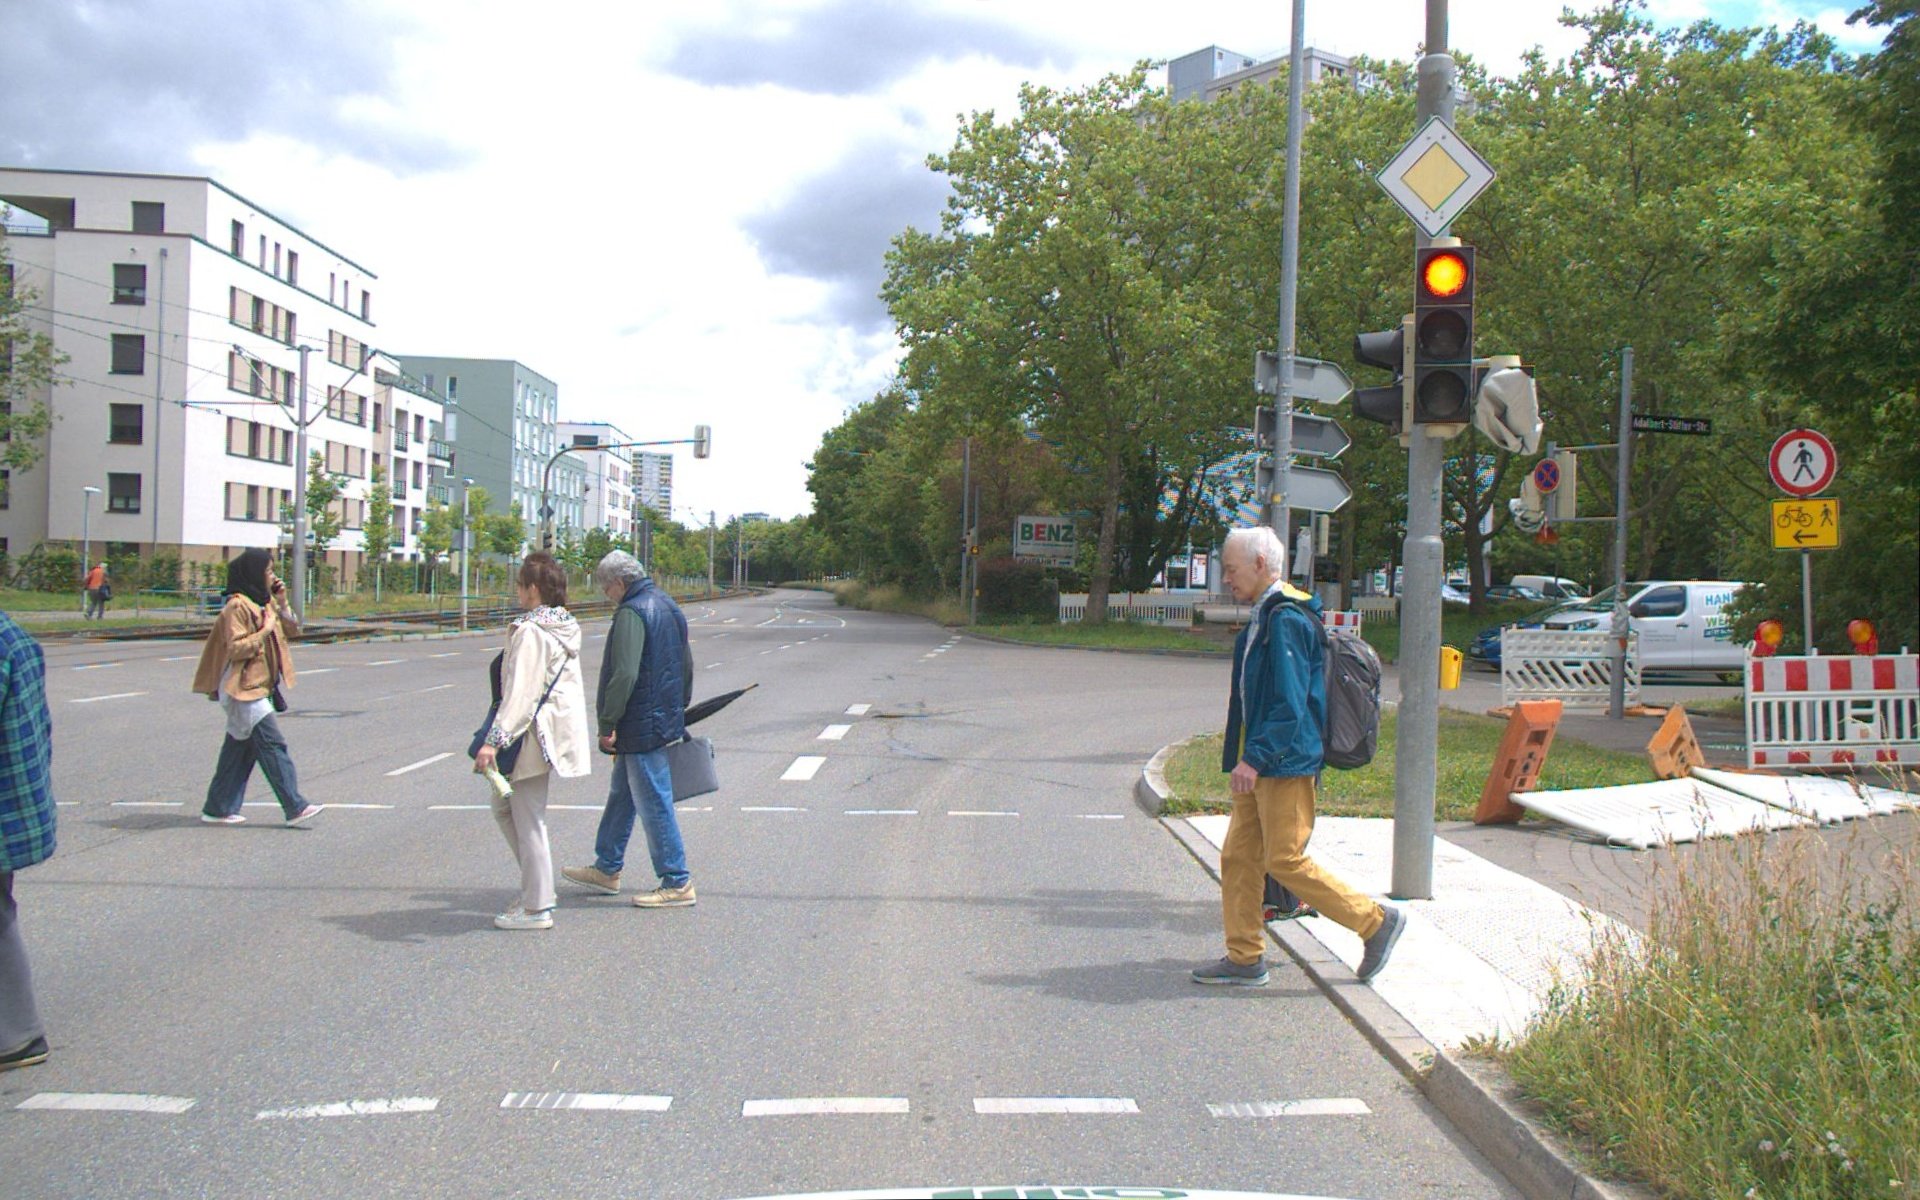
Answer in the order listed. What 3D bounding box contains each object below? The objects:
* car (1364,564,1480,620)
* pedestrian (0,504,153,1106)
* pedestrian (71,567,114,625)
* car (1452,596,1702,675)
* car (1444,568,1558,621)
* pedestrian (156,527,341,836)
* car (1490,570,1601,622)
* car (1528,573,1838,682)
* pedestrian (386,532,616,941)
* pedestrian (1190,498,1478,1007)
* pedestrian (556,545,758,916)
[{"bbox_3d":[17.519,-0.313,62.828,1.974,2.049,3.957,0,1,-32],"label":"car"},{"bbox_3d":[-2.951,0.573,4.974,0.809,1.700,0.730,0,0,-17],"label":"pedestrian"},{"bbox_3d":[-23.352,-0.117,44.521,0.814,1.542,0.636,1,0,-1],"label":"pedestrian"},{"bbox_3d":[12.619,0.706,34.000,4.386,1.512,1.988,1,0,-2],"label":"car"},{"bbox_3d":[21.363,-0.233,65.462,1.974,2.049,3.957,0,1,-32],"label":"car"},{"bbox_3d":[-4.252,0.467,9.938,0.766,1.773,0.828,1,0,-4],"label":"pedestrian"},{"bbox_3d":[23.931,-0.181,67.698,1.974,2.049,3.957,0,1,-32],"label":"car"},{"bbox_3d":[13.424,0.500,30.861,4.976,1.906,1.947,1,0,-5],"label":"car"},{"bbox_3d":[-1.955,0.559,7.147,0.806,1.668,0.733,1,0,-4],"label":"pedestrian"},{"bbox_3d":[1.408,0.535,6.427,0.988,1.805,0.949,1,0,8],"label":"pedestrian"},{"bbox_3d":[-1.412,0.588,7.841,0.851,1.663,0.764,1,0,-5],"label":"pedestrian"}]
